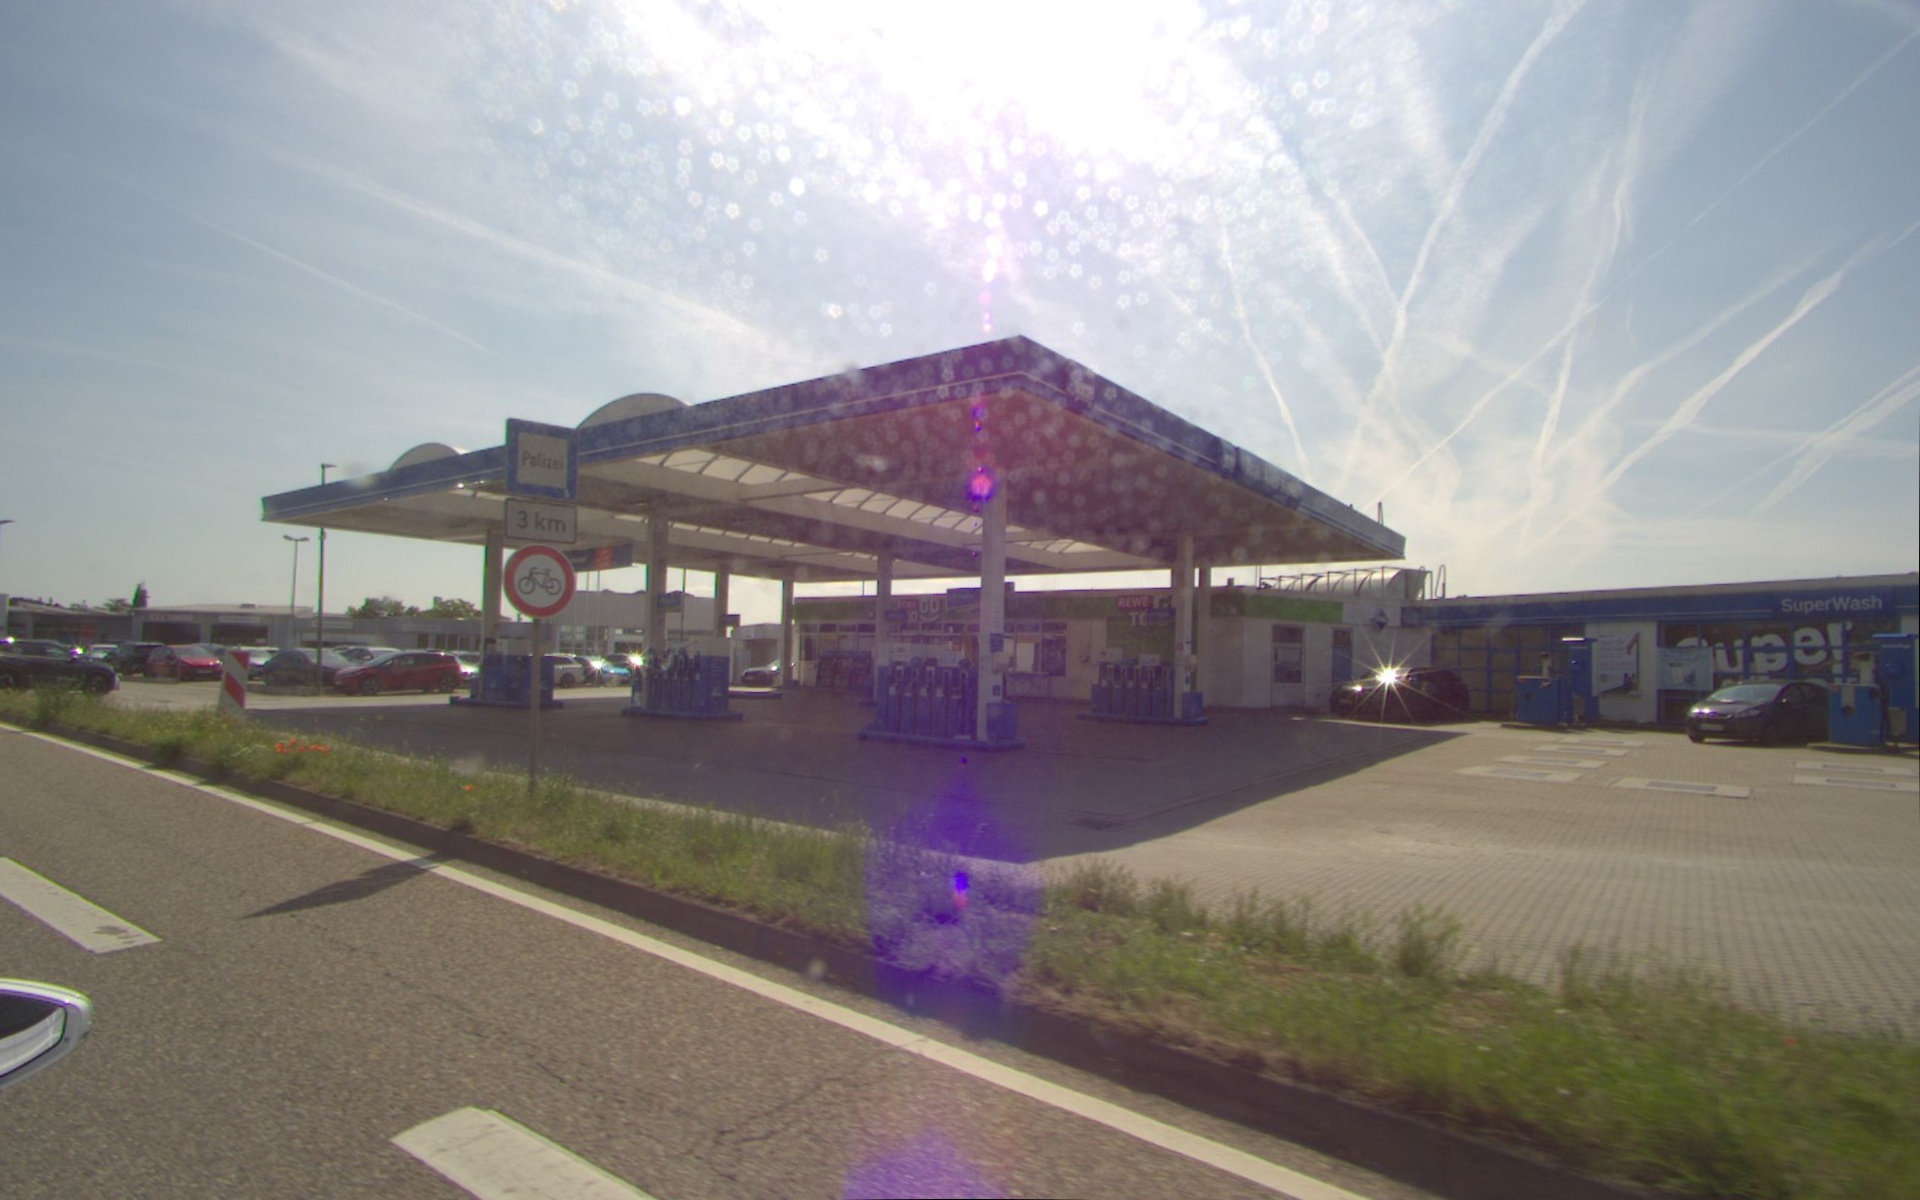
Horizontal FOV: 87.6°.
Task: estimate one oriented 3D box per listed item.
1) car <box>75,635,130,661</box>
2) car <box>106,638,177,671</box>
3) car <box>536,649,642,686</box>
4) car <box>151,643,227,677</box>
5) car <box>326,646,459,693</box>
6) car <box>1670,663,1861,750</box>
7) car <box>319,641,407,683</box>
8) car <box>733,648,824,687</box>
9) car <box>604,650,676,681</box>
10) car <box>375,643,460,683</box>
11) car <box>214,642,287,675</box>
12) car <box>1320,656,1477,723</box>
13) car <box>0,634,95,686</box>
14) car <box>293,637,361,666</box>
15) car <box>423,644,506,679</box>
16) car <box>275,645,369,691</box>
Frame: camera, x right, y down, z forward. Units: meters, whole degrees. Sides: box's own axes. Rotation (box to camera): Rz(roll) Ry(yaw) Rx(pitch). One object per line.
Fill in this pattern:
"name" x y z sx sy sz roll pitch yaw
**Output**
"car" -51.308 2.846 59.912 3.544 1.427 1.556 -1 -1 32
"car" -38.639 2.539 47.280 3.544 1.427 1.556 -1 -1 32
"car" -16.330 2.970 44.259 1.541 1.513 4.323 0 -3 32
"car" -34.566 2.666 44.868 3.544 1.427 1.556 -1 -1 32
"car" -20.959 2.548 37.108 1.783 1.591 3.893 -1 -3 36
"car" 18.781 2.434 23.350 4.107 1.848 1.884 3 -3 -25
"car" -24.677 2.526 41.346 3.805 1.615 1.556 -1 -1 32
"car" -8.234 3.076 45.600 1.731 1.658 3.978 0 -3 36
"car" -16.329 3.317 51.068 3.544 1.427 1.556 -1 -1 32
"car" -23.770 2.726 43.852 3.805 1.615 1.611 -1 -1 32
"car" -33.299 2.737 46.980 3.544 1.427 1.556 -1 -1 32
"car" 13.677 2.815 31.206 4.663 1.847 1.897 5 -5 -25
"car" -27.491 1.729 28.977 1.533 1.427 3.595 0 -1 8
"car" -32.705 2.629 51.715 3.636 1.427 1.556 -1 -1 32
"car" -22.490 2.768 45.407 3.805 1.461 1.611 -1 -1 32
"car" -24.647 2.572 38.645 3.805 1.615 1.611 -1 -1 32
